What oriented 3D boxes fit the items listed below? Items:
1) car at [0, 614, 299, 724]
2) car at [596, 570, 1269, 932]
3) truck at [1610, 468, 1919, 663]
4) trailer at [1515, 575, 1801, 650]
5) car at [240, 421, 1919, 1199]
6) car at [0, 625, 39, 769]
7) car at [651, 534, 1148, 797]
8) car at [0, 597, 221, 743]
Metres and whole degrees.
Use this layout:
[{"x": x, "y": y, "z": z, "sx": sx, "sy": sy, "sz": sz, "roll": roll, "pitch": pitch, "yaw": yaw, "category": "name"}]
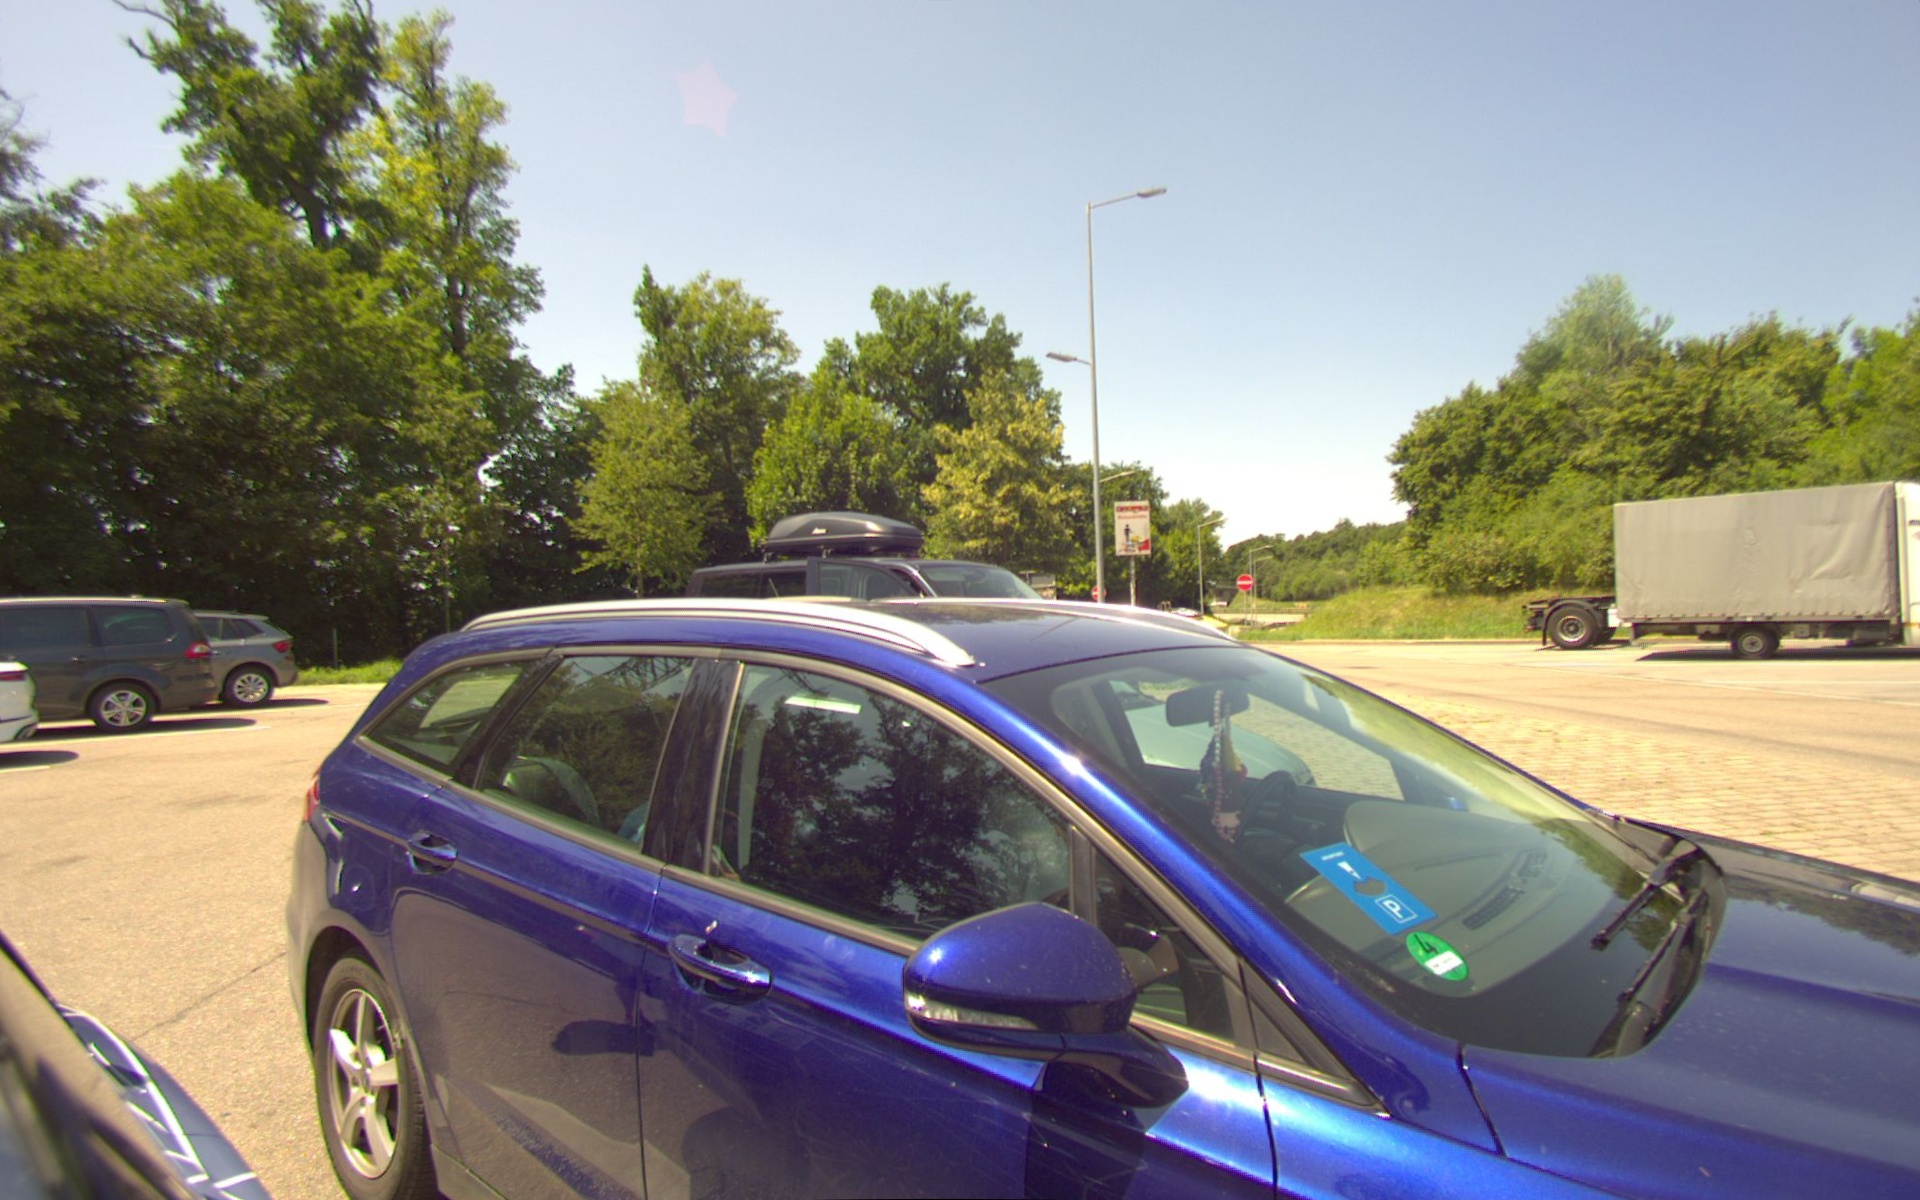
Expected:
[{"x": -12.604, "y": 0.971, "z": 15.629, "sx": 3.753, "sy": 1.488, "sz": 1.743, "roll": 0, "pitch": -1, "yaw": -45, "category": "car"}, {"x": -0.359, "y": 0.649, "z": 5.810, "sx": 3.739, "sy": 1.424, "sz": 1.587, "roll": -2, "pitch": -1, "yaw": 40, "category": "car"}, {"x": 16.715, "y": -0.617, "z": 18.851, "sx": 7.308, "sy": 3.258, "sz": 2.294, "roll": -5, "pitch": -2, "yaw": 43, "category": "truck"}, {"x": 16.335, "y": 0.348, "z": 23.924, "sx": 5.393, "sy": 1.608, "sz": 1.576, "roll": -2, "pitch": -1, "yaw": 41, "category": "trailer"}, {"x": 0.246, "y": 0.650, "z": 2.089, "sx": 4.426, "sy": 1.455, "sz": 1.763, "roll": -2, "pitch": -1, "yaw": 40, "category": "car"}, {"x": -10.954, "y": 0.942, "z": 9.202, "sx": 3.753, "sy": 1.377, "sz": 1.804, "roll": 0, "pitch": -1, "yaw": -45, "category": "car"}, {"x": -0.726, "y": 0.533, "z": 9.421, "sx": 4.426, "sy": 1.875, "sz": 2.022, "roll": -2, "pitch": -1, "yaw": 40, "category": "car"}, {"x": -11.708, "y": 0.835, "z": 12.590, "sx": 3.830, "sy": 1.703, "sz": 1.883, "roll": 0, "pitch": -2, "yaw": -45, "category": "car"}]
